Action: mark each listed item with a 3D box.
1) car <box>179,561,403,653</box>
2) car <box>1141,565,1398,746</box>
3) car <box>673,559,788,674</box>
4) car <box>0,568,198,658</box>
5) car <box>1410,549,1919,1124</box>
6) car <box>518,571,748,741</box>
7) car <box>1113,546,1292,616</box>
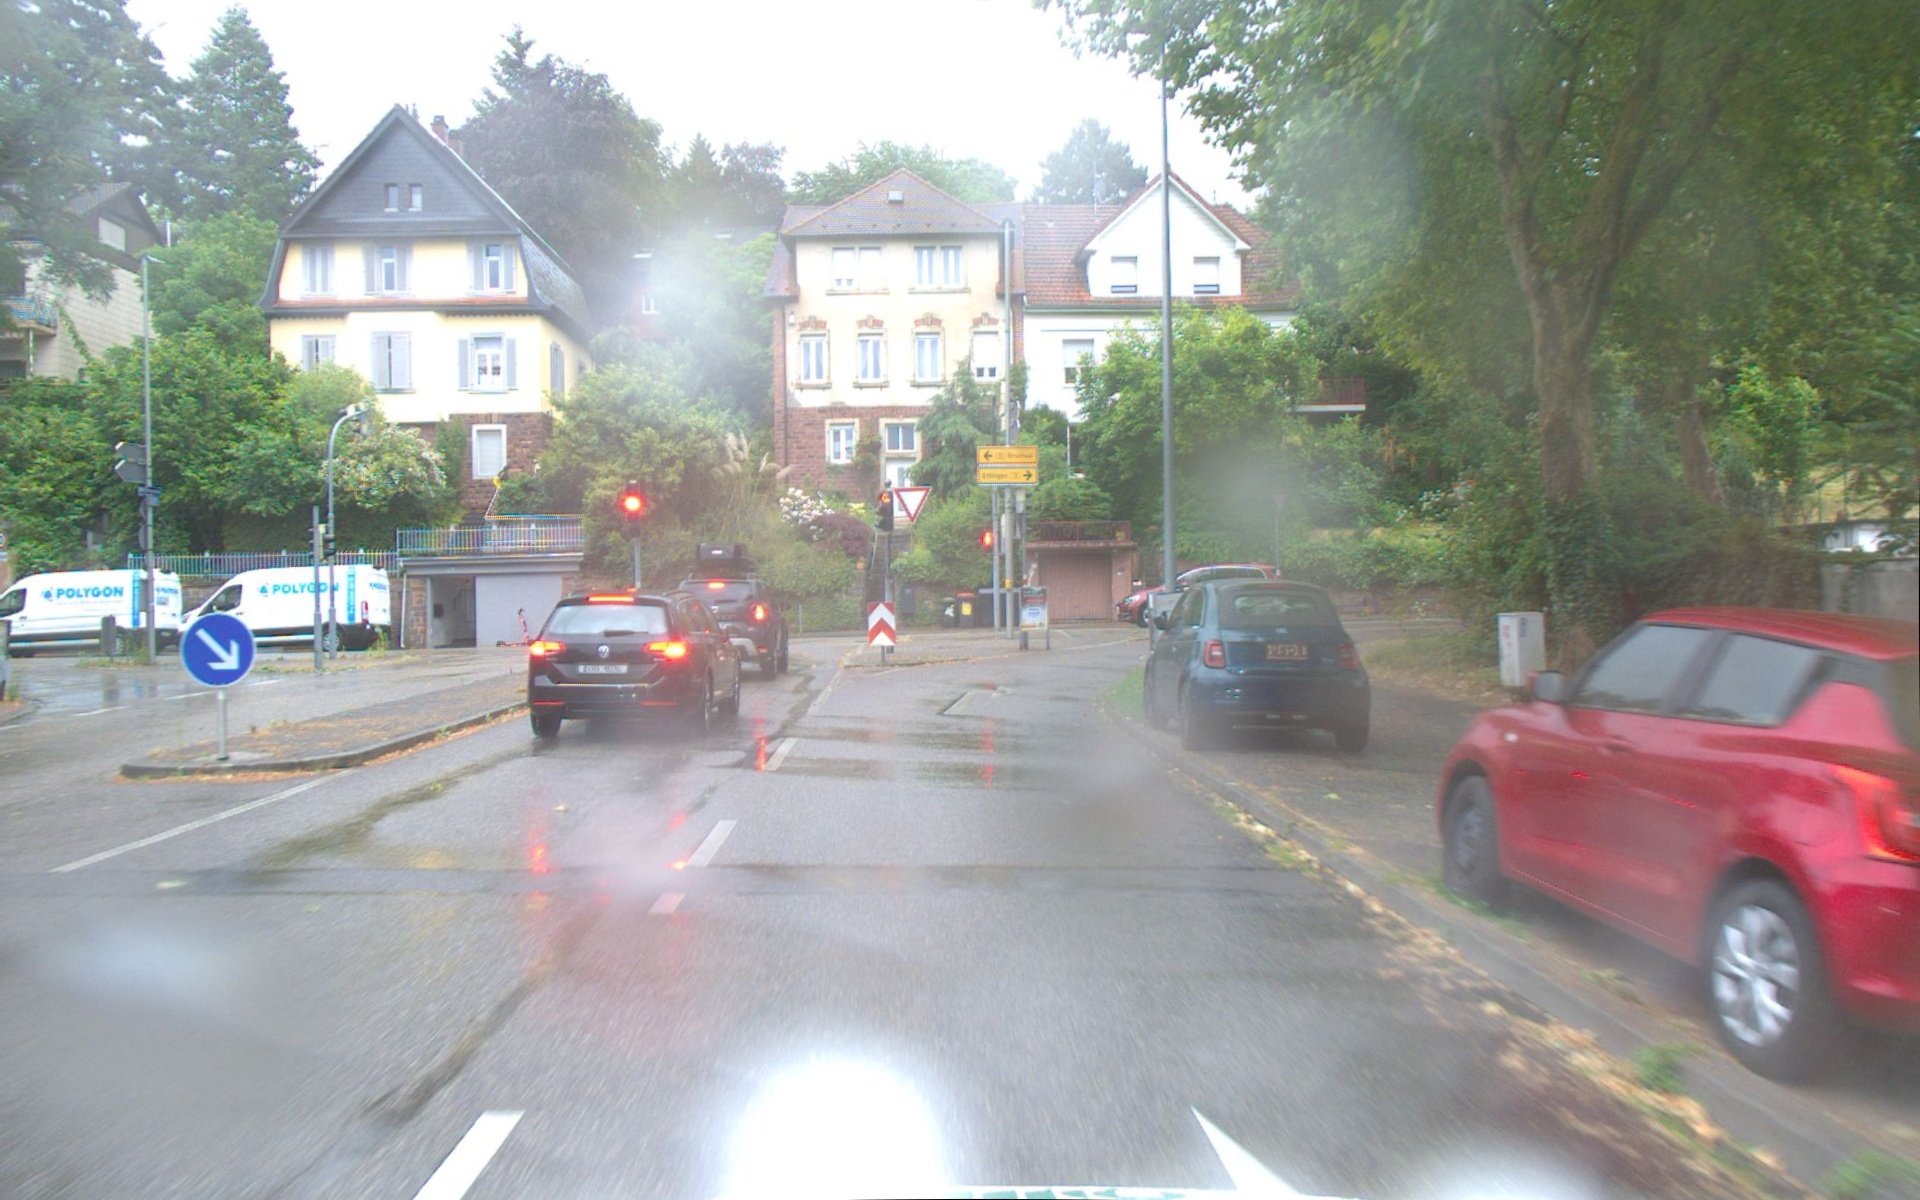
[{"bbox_3d":[-19.361,0.213,48.041,5.544,2.538,2.315,-1,-1,0],"label":"car"},{"bbox_3d":[2.872,0.466,16.075,1.714,1.518,3.599,1,0,-1],"label":"car"},{"bbox_3d":[-3.794,0.189,27.493,1.727,1.741,4.593,0,1,-8],"label":"car"},{"bbox_3d":[-25.457,0.384,48.143,5.448,2.538,2.315,-1,-1,0],"label":"car"},{"bbox_3d":[3.338,0.683,6.488,1.784,1.543,3.741,6,2,-4],"label":"car"},{"bbox_3d":[-3.322,0.479,17.645,1.795,1.481,4.655,1,2,-4],"label":"car"},{"bbox_3d":[6.423,-0.485,44.127,4.475,1.629,1.775,-3,-1,0],"label":"car"}]
